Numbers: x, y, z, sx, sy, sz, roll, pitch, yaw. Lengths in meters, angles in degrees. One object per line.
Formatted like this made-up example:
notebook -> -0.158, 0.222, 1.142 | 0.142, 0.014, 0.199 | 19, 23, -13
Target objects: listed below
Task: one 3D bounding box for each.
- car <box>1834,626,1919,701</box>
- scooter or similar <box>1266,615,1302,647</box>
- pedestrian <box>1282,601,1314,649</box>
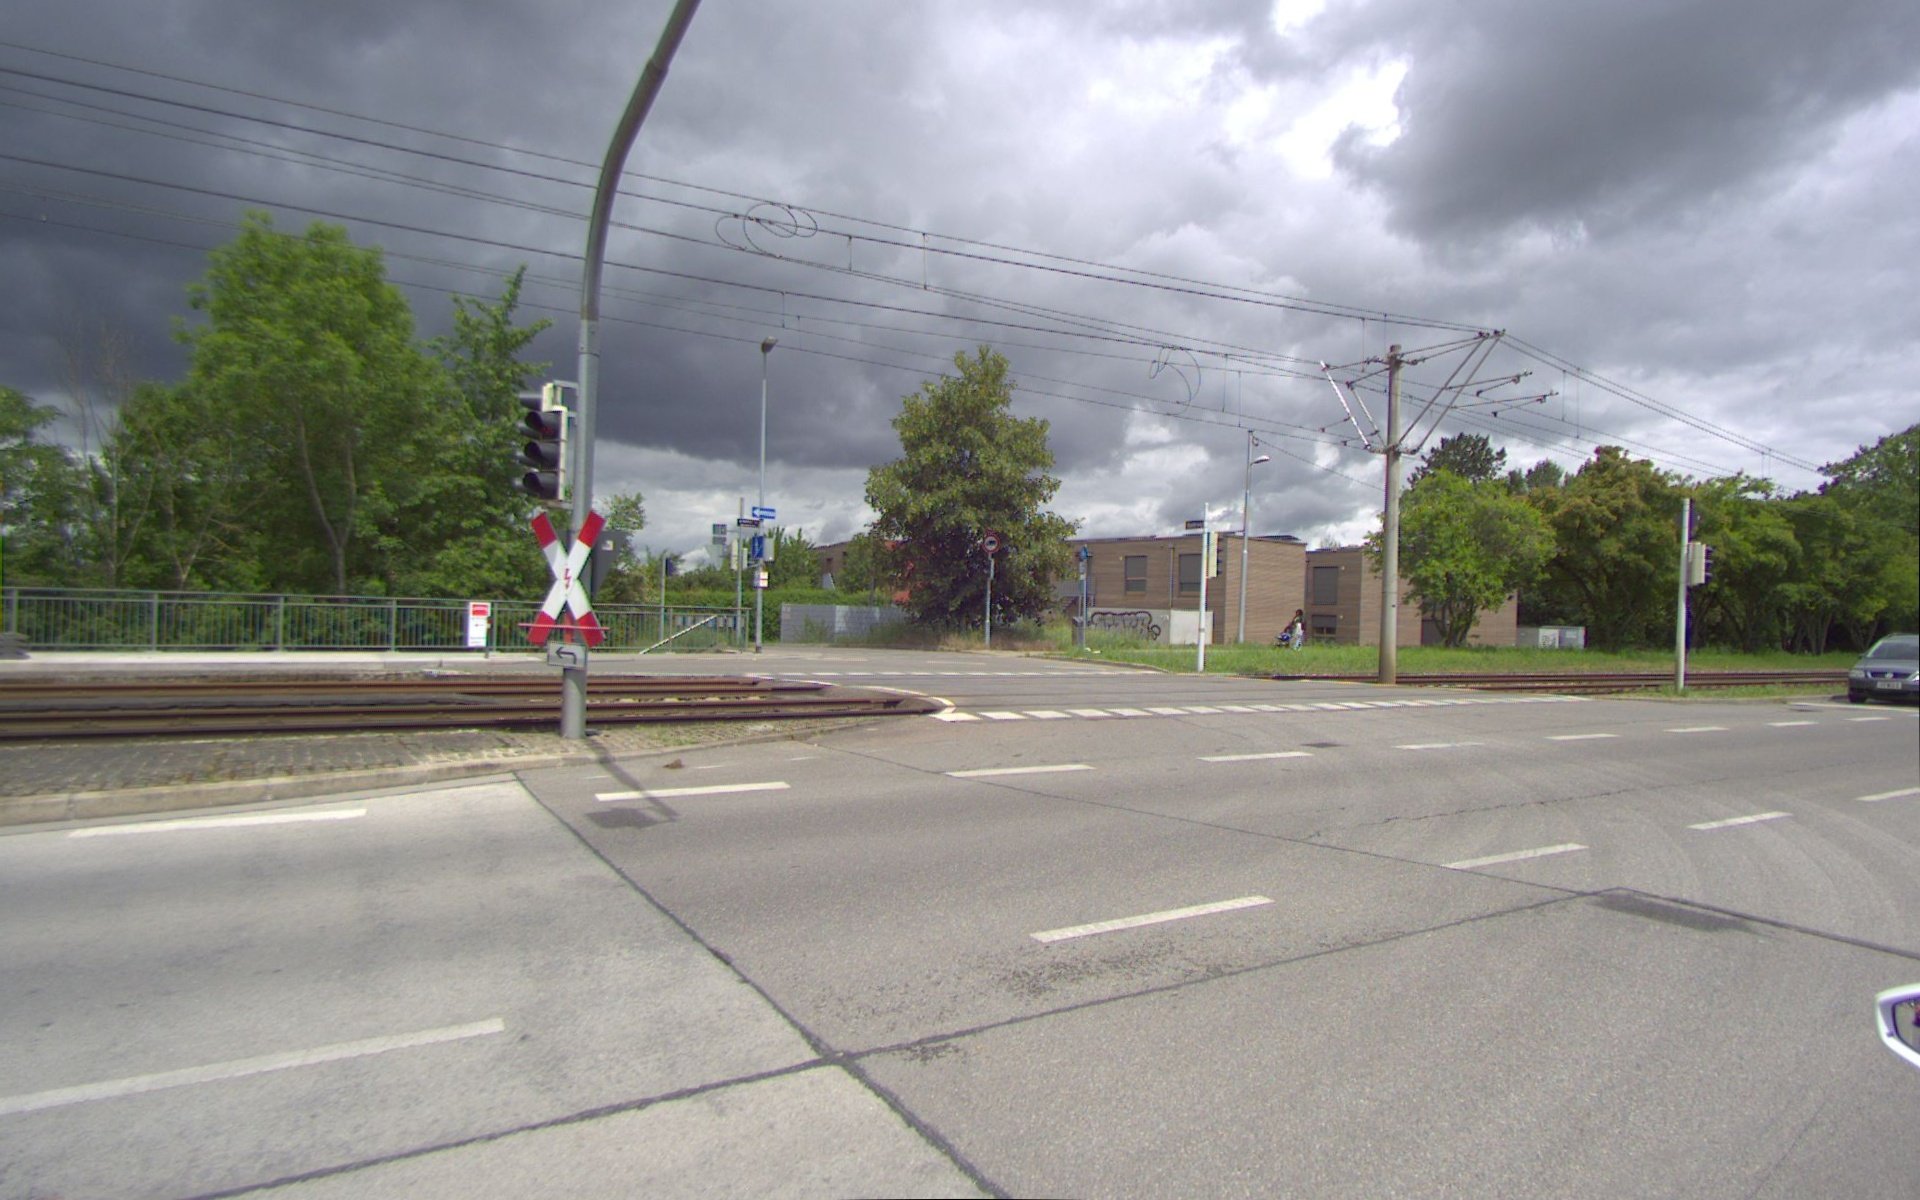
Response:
car -> 22.320, 1.461, 23.416 | 4.297, 1.590, 1.774 | 2, -1, -32
scooter or similar -> 12.636, 1.201, 39.222 | 0.960, 1.200, 0.886 | 2, 2, -29
pedestrian -> 13.324, 0.976, 39.599 | 0.798, 1.835, 0.798 | 2, 2, -27
